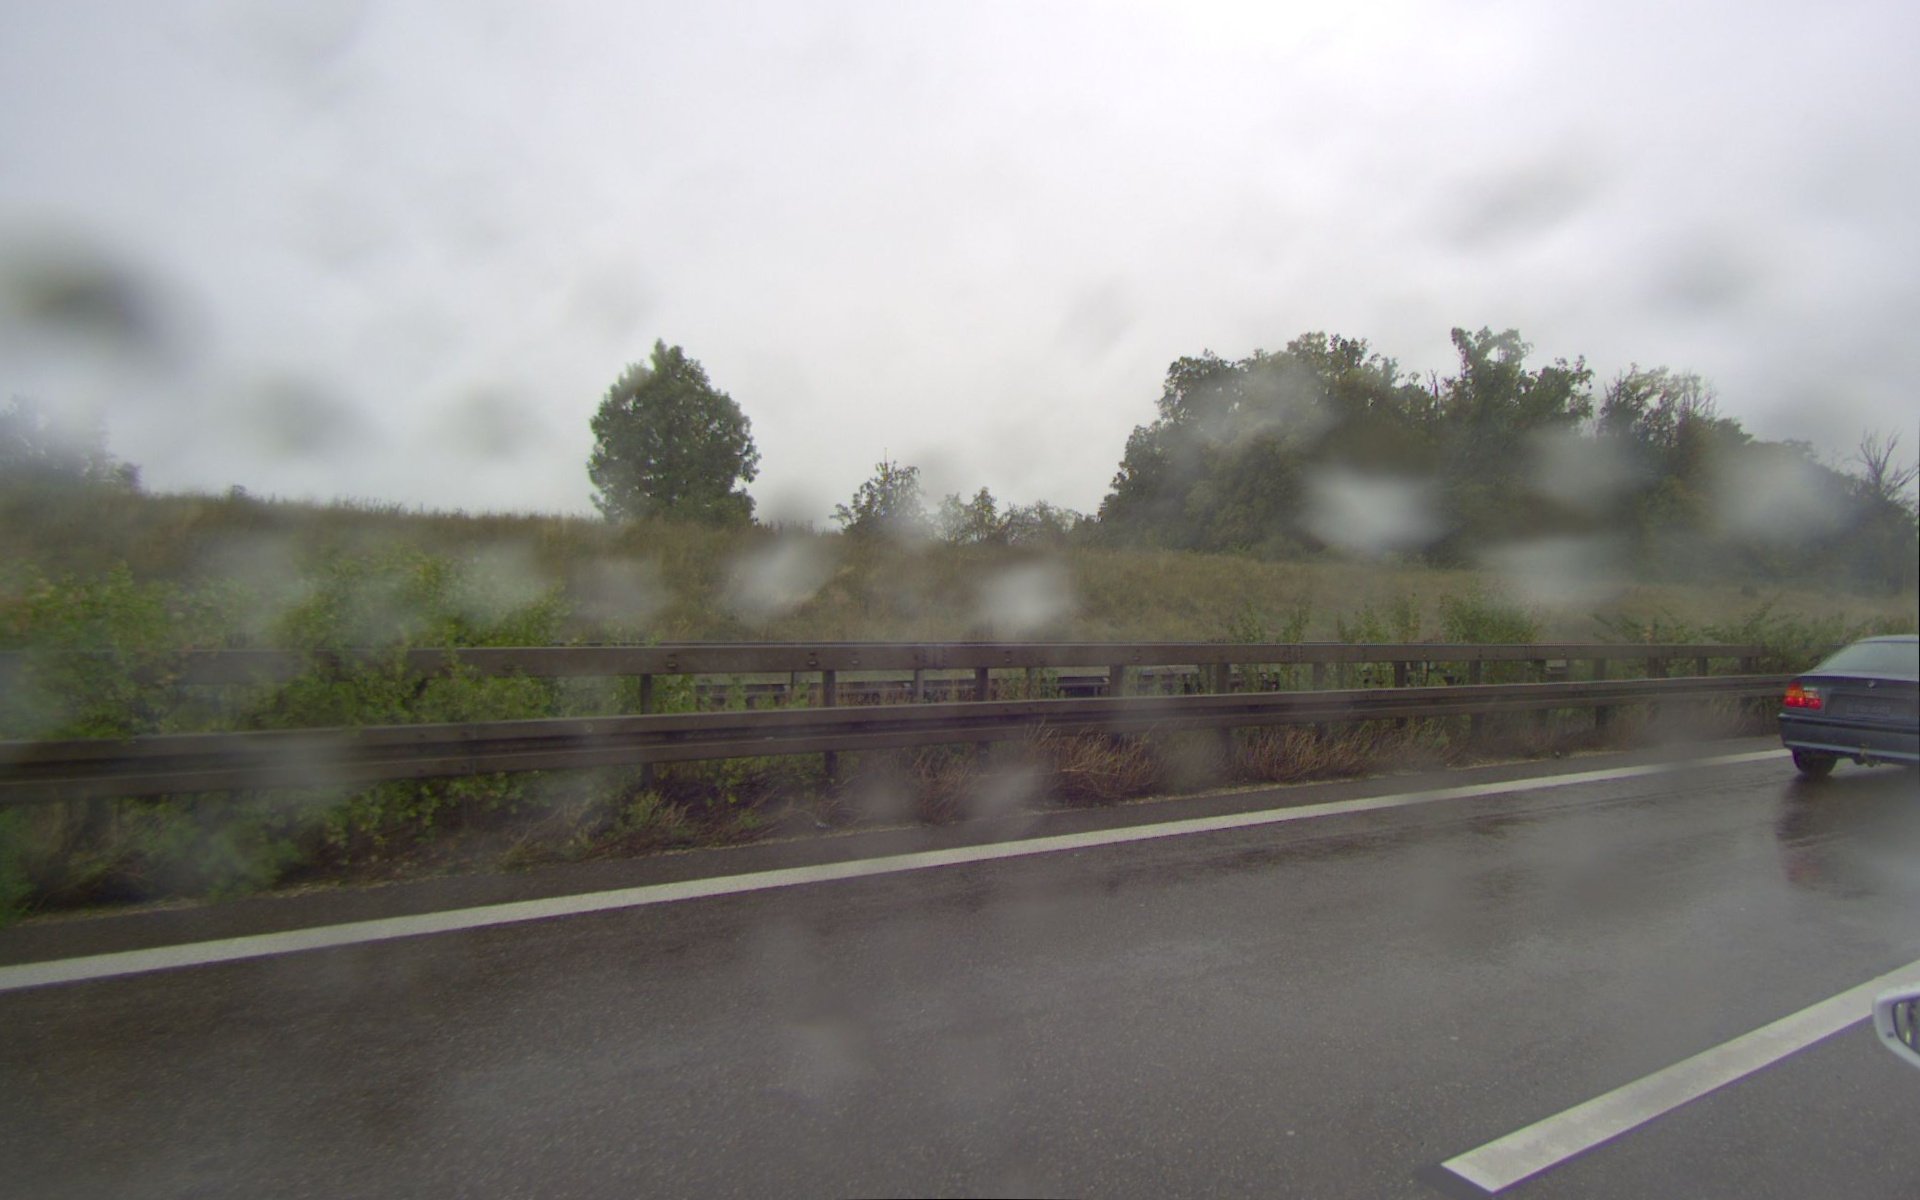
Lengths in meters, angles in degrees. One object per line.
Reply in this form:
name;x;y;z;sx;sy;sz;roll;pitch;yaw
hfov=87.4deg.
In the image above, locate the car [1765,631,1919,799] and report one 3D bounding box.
car;9.951;1.061;9.964;4.180;1.418;1.710;2;-1;-31
